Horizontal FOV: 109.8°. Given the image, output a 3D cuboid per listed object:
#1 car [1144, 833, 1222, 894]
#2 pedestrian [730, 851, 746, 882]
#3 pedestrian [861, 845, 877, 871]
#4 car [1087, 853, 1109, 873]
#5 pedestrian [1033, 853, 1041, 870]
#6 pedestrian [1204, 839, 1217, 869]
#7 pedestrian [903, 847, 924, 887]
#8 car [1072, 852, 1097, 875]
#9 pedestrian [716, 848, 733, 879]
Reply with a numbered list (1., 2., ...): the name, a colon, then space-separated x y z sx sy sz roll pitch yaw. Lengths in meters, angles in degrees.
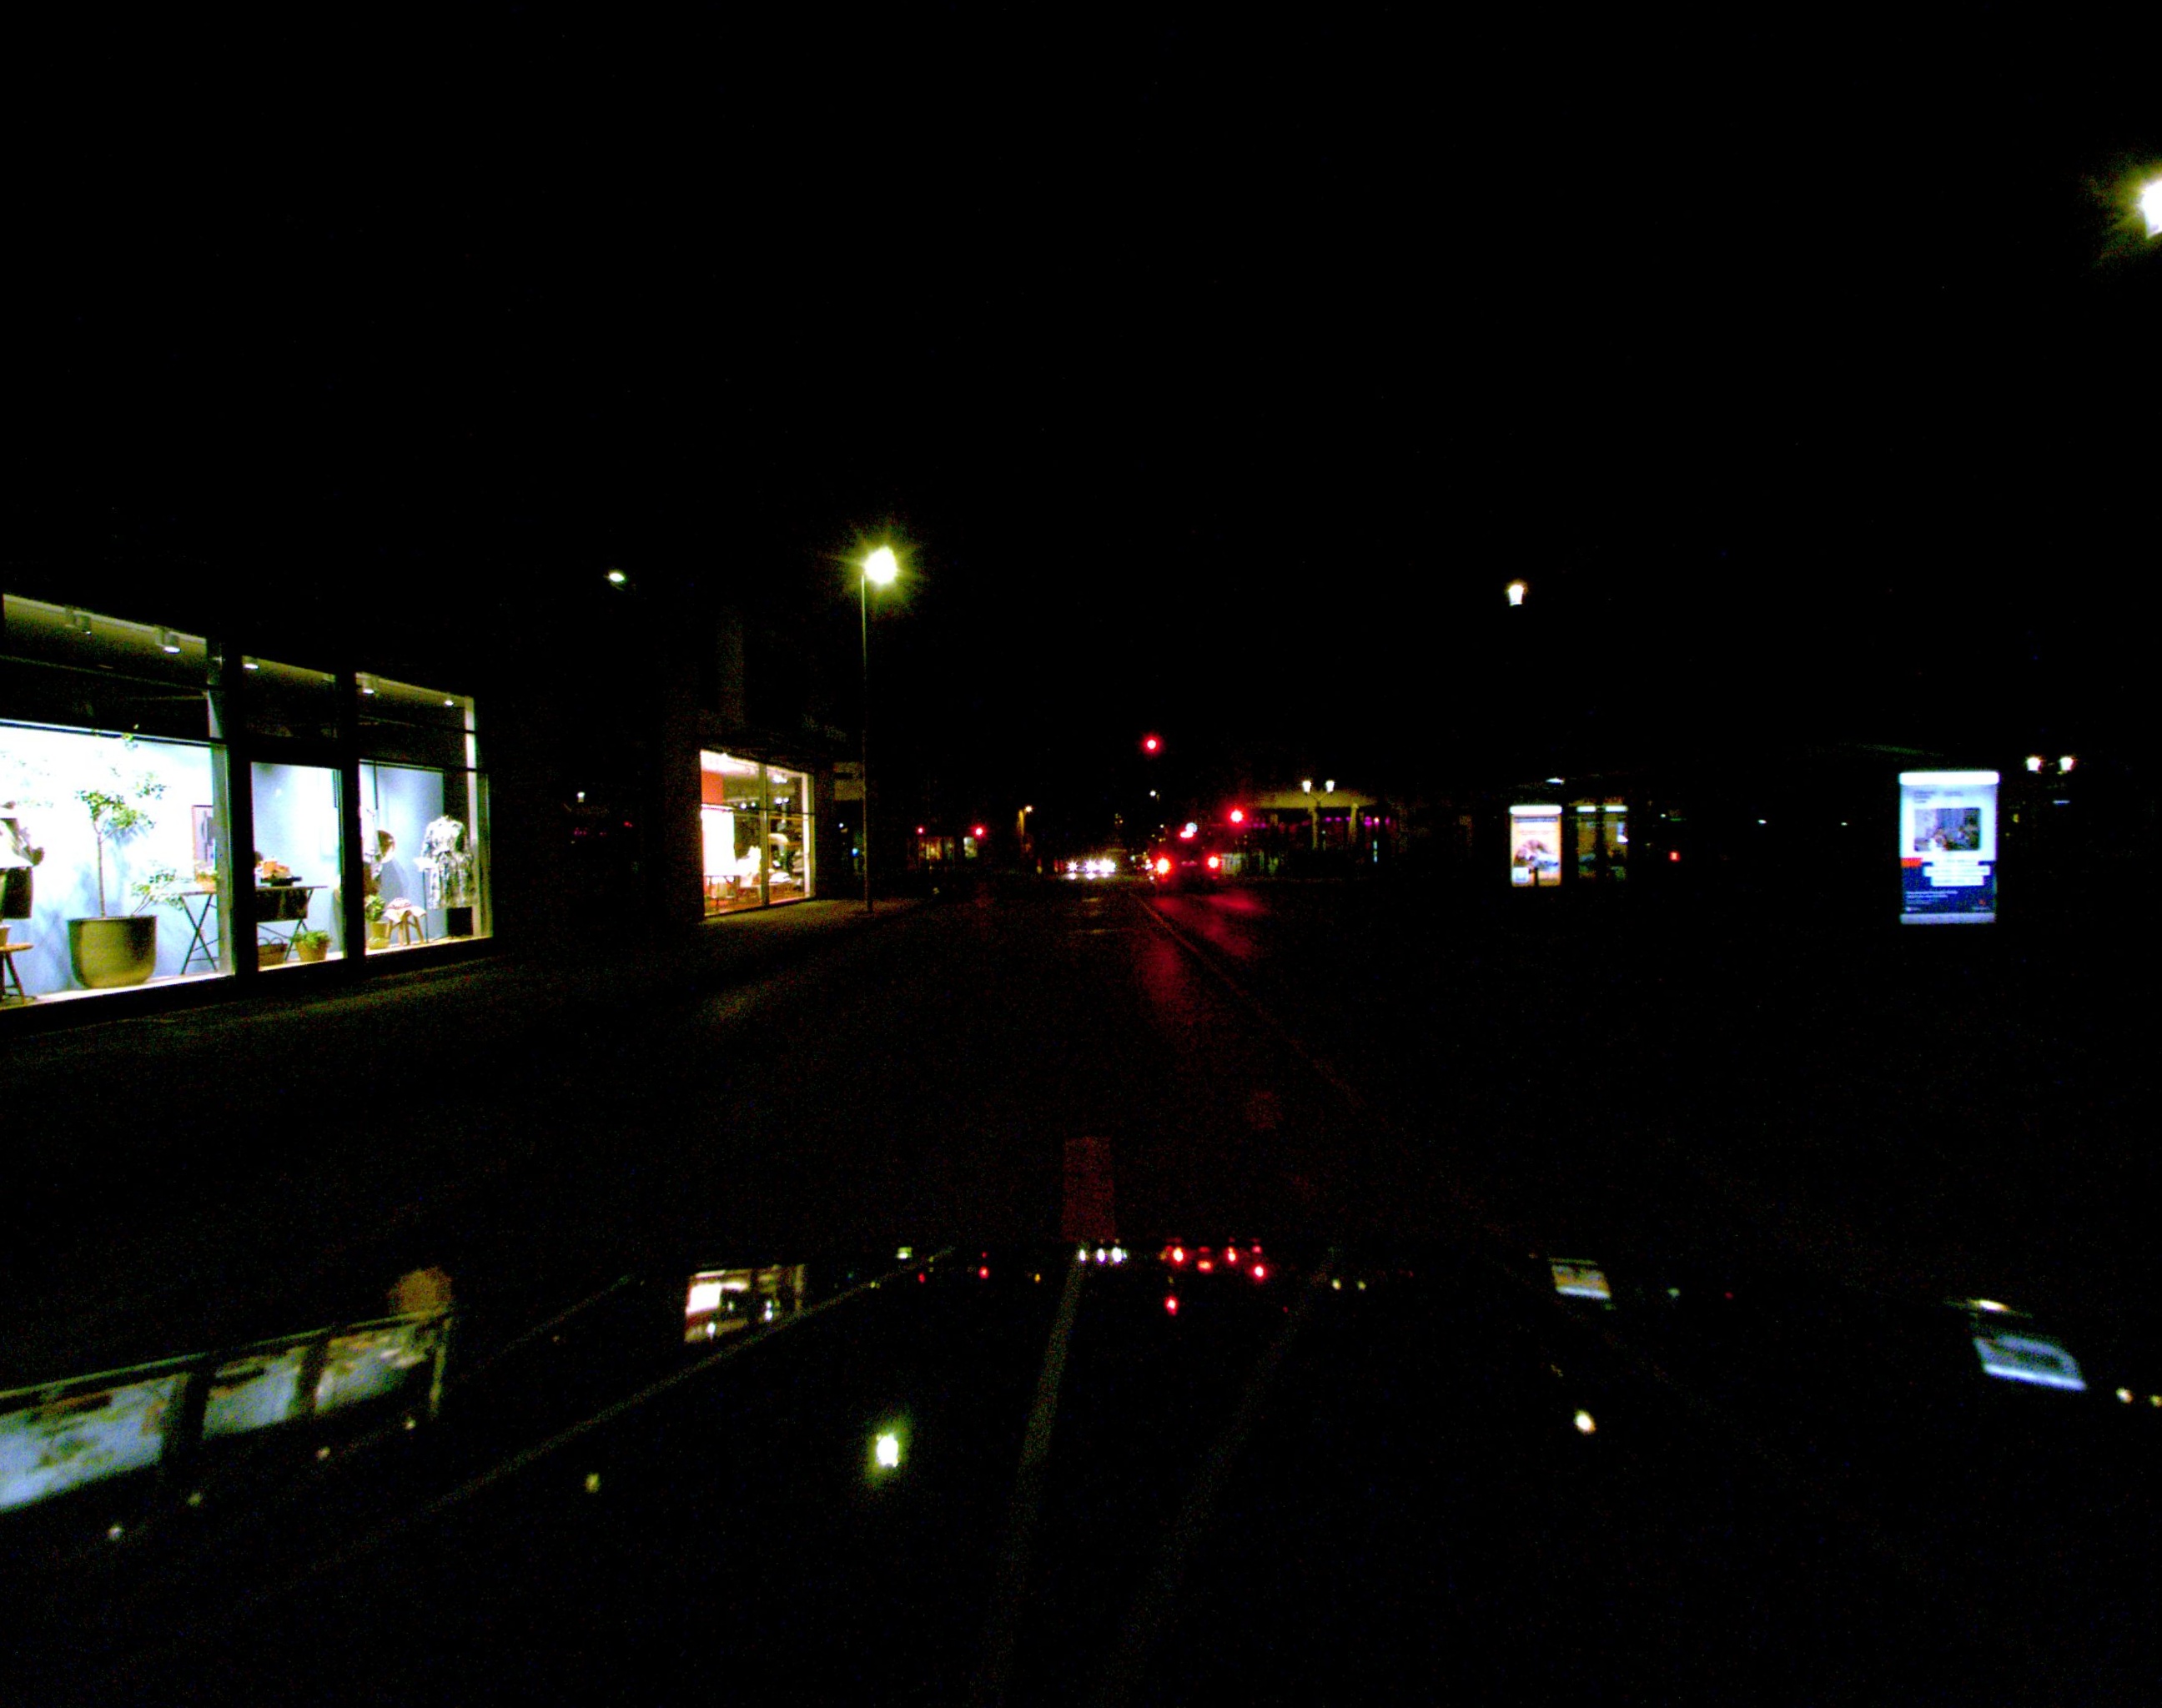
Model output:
1. car: 3.361 0.270 25.936 1.971 1.861 4.911 -1 1 0
2. pedestrian: -19.382 0.703 42.940 0.524 1.707 0.567 -2 1 7
3. pedestrian: -14.495 0.262 51.929 0.877 1.723 0.647 0 1 4
4. car: 1.524 0.781 69.257 1.879 1.718 3.999 -2 1 1
5. pedestrian: -3.918 0.701 68.193 0.647 1.487 0.830 0 1 2
6. pedestrian: 7.269 0.010 42.504 0.646 1.619 0.583 -2 1 11
7. pedestrian: -7.191 0.557 32.614 0.539 1.672 0.648 -2 1 23
8. car: 0.288 0.702 60.193 1.713 1.660 3.738 -2 1 3
9. pedestrian: -20.393 0.536 43.492 0.567 1.707 0.567 -2 1 7
